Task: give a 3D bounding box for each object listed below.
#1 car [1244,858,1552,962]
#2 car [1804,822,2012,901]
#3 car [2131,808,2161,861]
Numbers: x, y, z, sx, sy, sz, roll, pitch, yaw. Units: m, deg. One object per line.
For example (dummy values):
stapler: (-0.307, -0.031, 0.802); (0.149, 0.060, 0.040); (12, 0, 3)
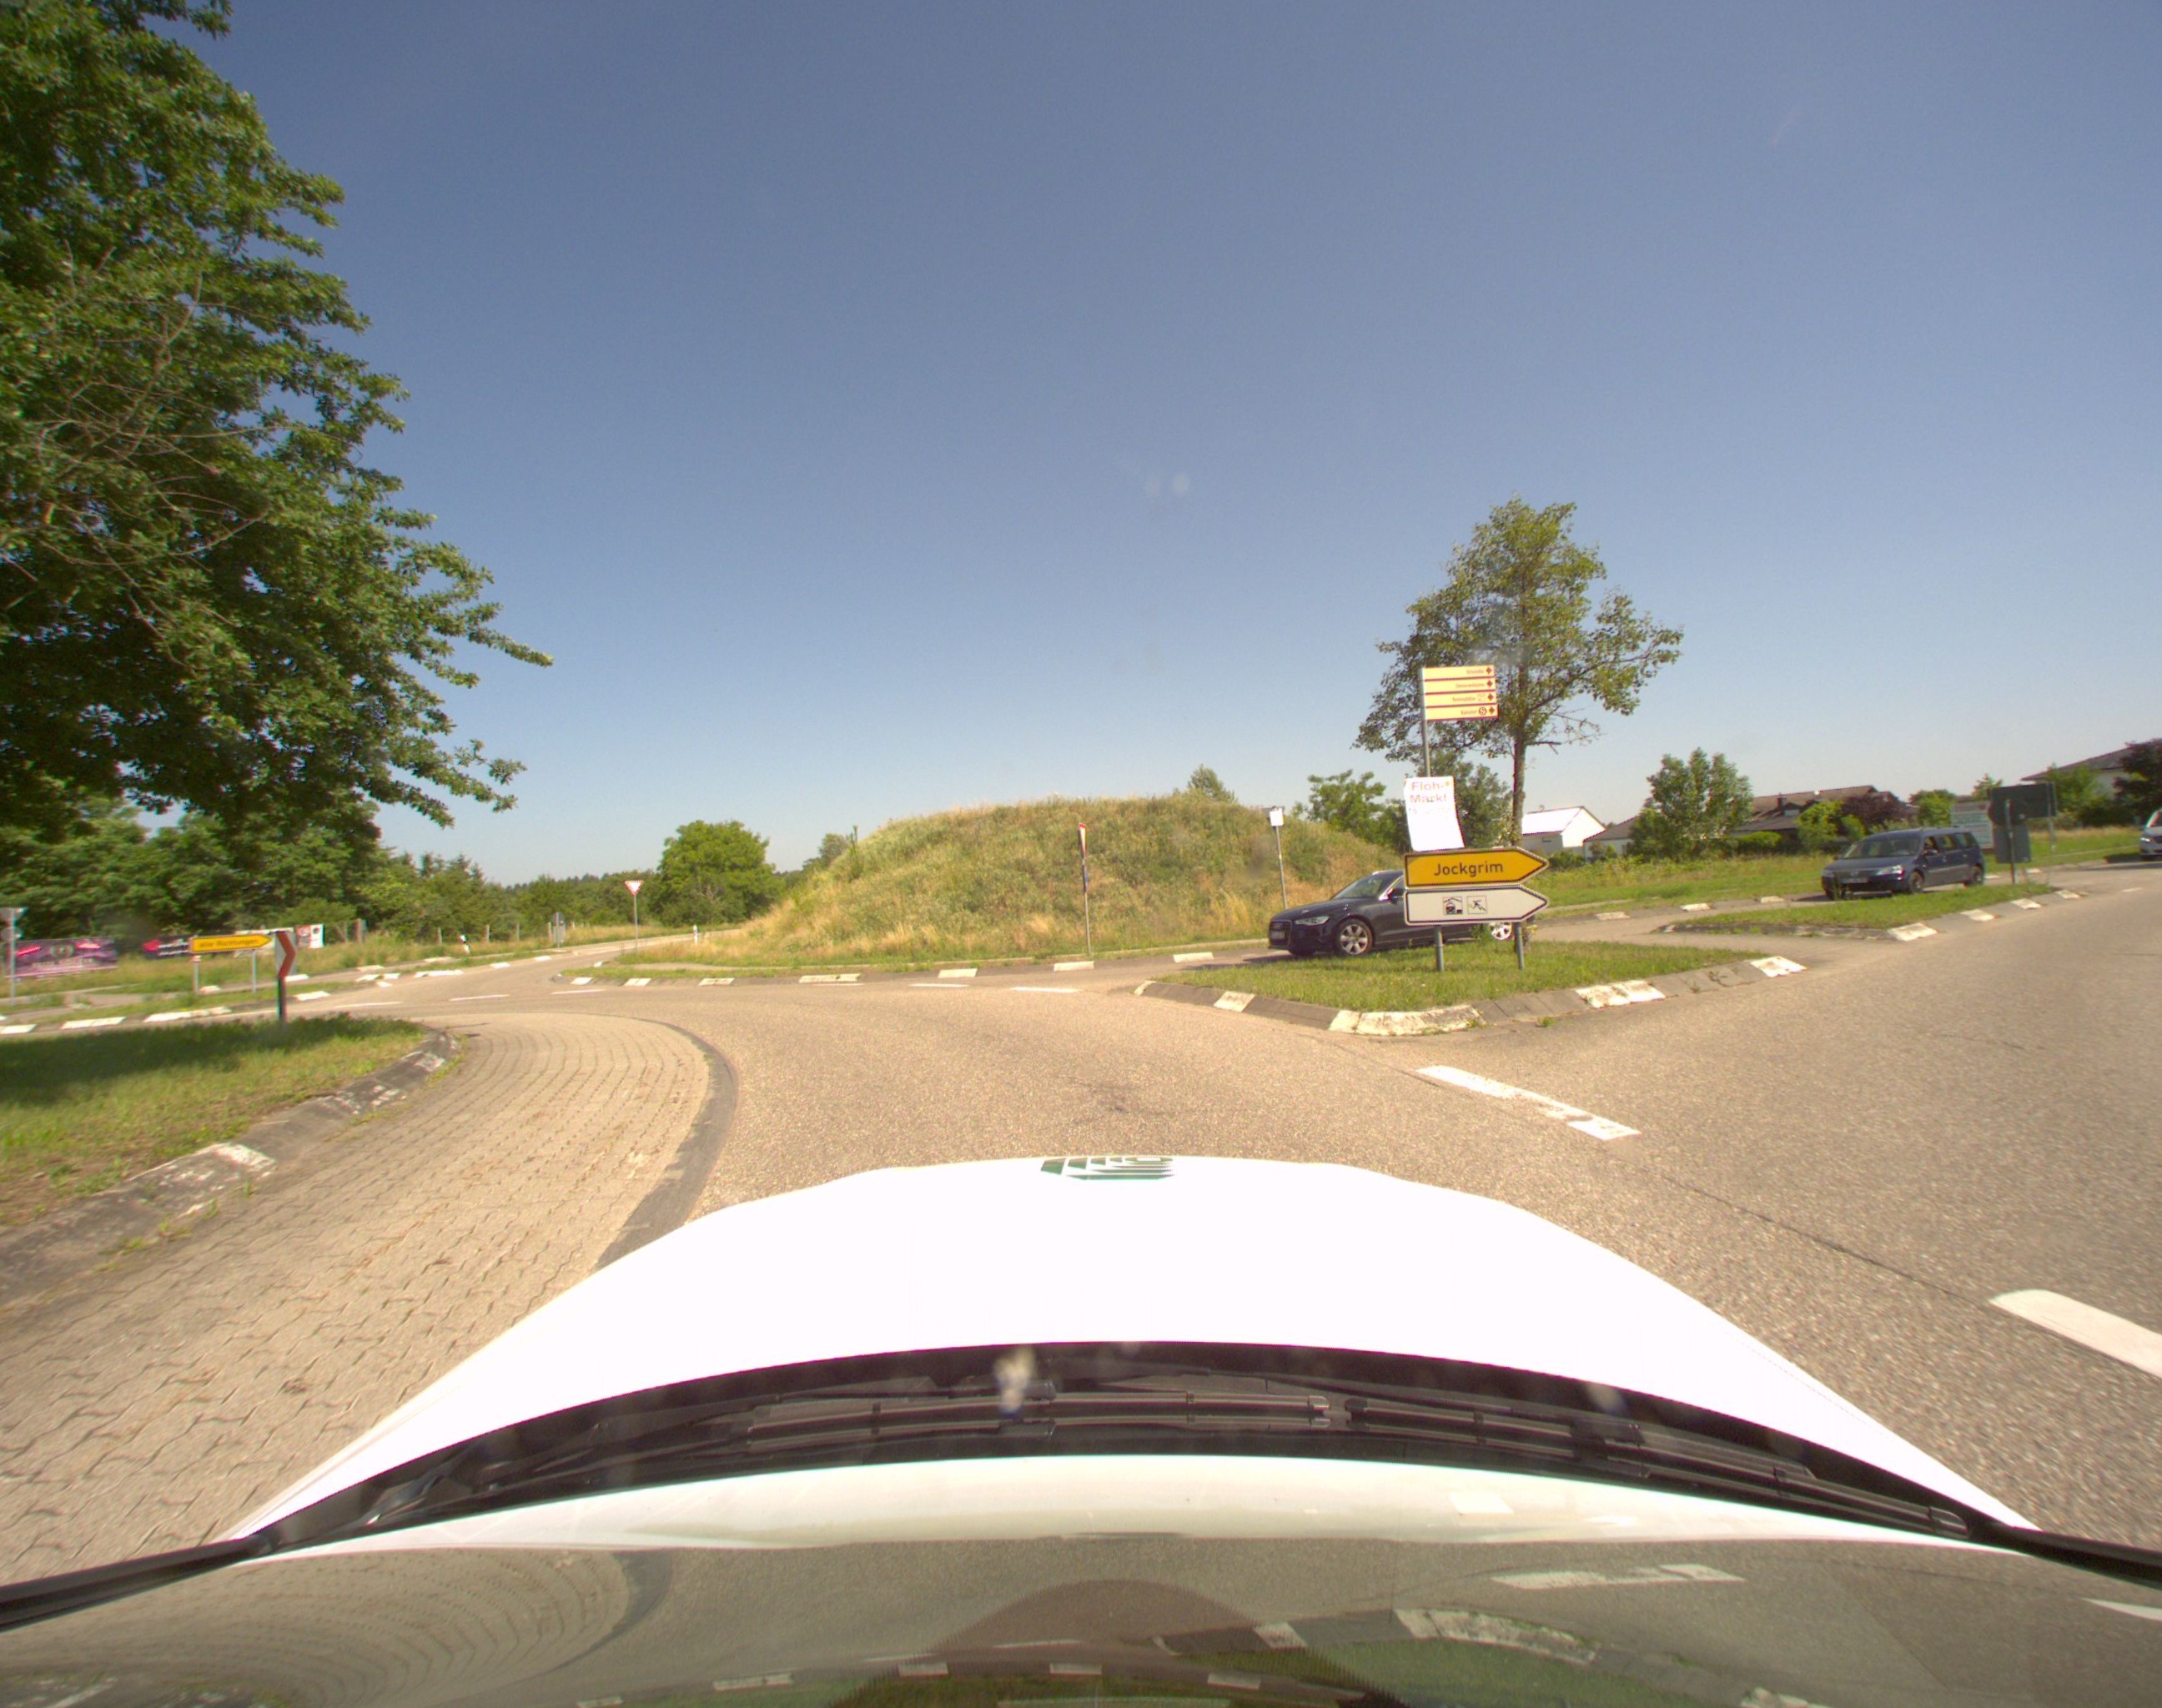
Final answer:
car: (5.612, 0.978, 14.544); (4.908, 1.434, 1.912); (-3, -5, -17)
car: (20.686, 0.189, 20.378); (4.658, 1.641, 1.802); (-2, -6, -21)
car: (39.774, -0.815, 28.766); (5.207, 1.816, 1.984); (-2, -2, -24)
